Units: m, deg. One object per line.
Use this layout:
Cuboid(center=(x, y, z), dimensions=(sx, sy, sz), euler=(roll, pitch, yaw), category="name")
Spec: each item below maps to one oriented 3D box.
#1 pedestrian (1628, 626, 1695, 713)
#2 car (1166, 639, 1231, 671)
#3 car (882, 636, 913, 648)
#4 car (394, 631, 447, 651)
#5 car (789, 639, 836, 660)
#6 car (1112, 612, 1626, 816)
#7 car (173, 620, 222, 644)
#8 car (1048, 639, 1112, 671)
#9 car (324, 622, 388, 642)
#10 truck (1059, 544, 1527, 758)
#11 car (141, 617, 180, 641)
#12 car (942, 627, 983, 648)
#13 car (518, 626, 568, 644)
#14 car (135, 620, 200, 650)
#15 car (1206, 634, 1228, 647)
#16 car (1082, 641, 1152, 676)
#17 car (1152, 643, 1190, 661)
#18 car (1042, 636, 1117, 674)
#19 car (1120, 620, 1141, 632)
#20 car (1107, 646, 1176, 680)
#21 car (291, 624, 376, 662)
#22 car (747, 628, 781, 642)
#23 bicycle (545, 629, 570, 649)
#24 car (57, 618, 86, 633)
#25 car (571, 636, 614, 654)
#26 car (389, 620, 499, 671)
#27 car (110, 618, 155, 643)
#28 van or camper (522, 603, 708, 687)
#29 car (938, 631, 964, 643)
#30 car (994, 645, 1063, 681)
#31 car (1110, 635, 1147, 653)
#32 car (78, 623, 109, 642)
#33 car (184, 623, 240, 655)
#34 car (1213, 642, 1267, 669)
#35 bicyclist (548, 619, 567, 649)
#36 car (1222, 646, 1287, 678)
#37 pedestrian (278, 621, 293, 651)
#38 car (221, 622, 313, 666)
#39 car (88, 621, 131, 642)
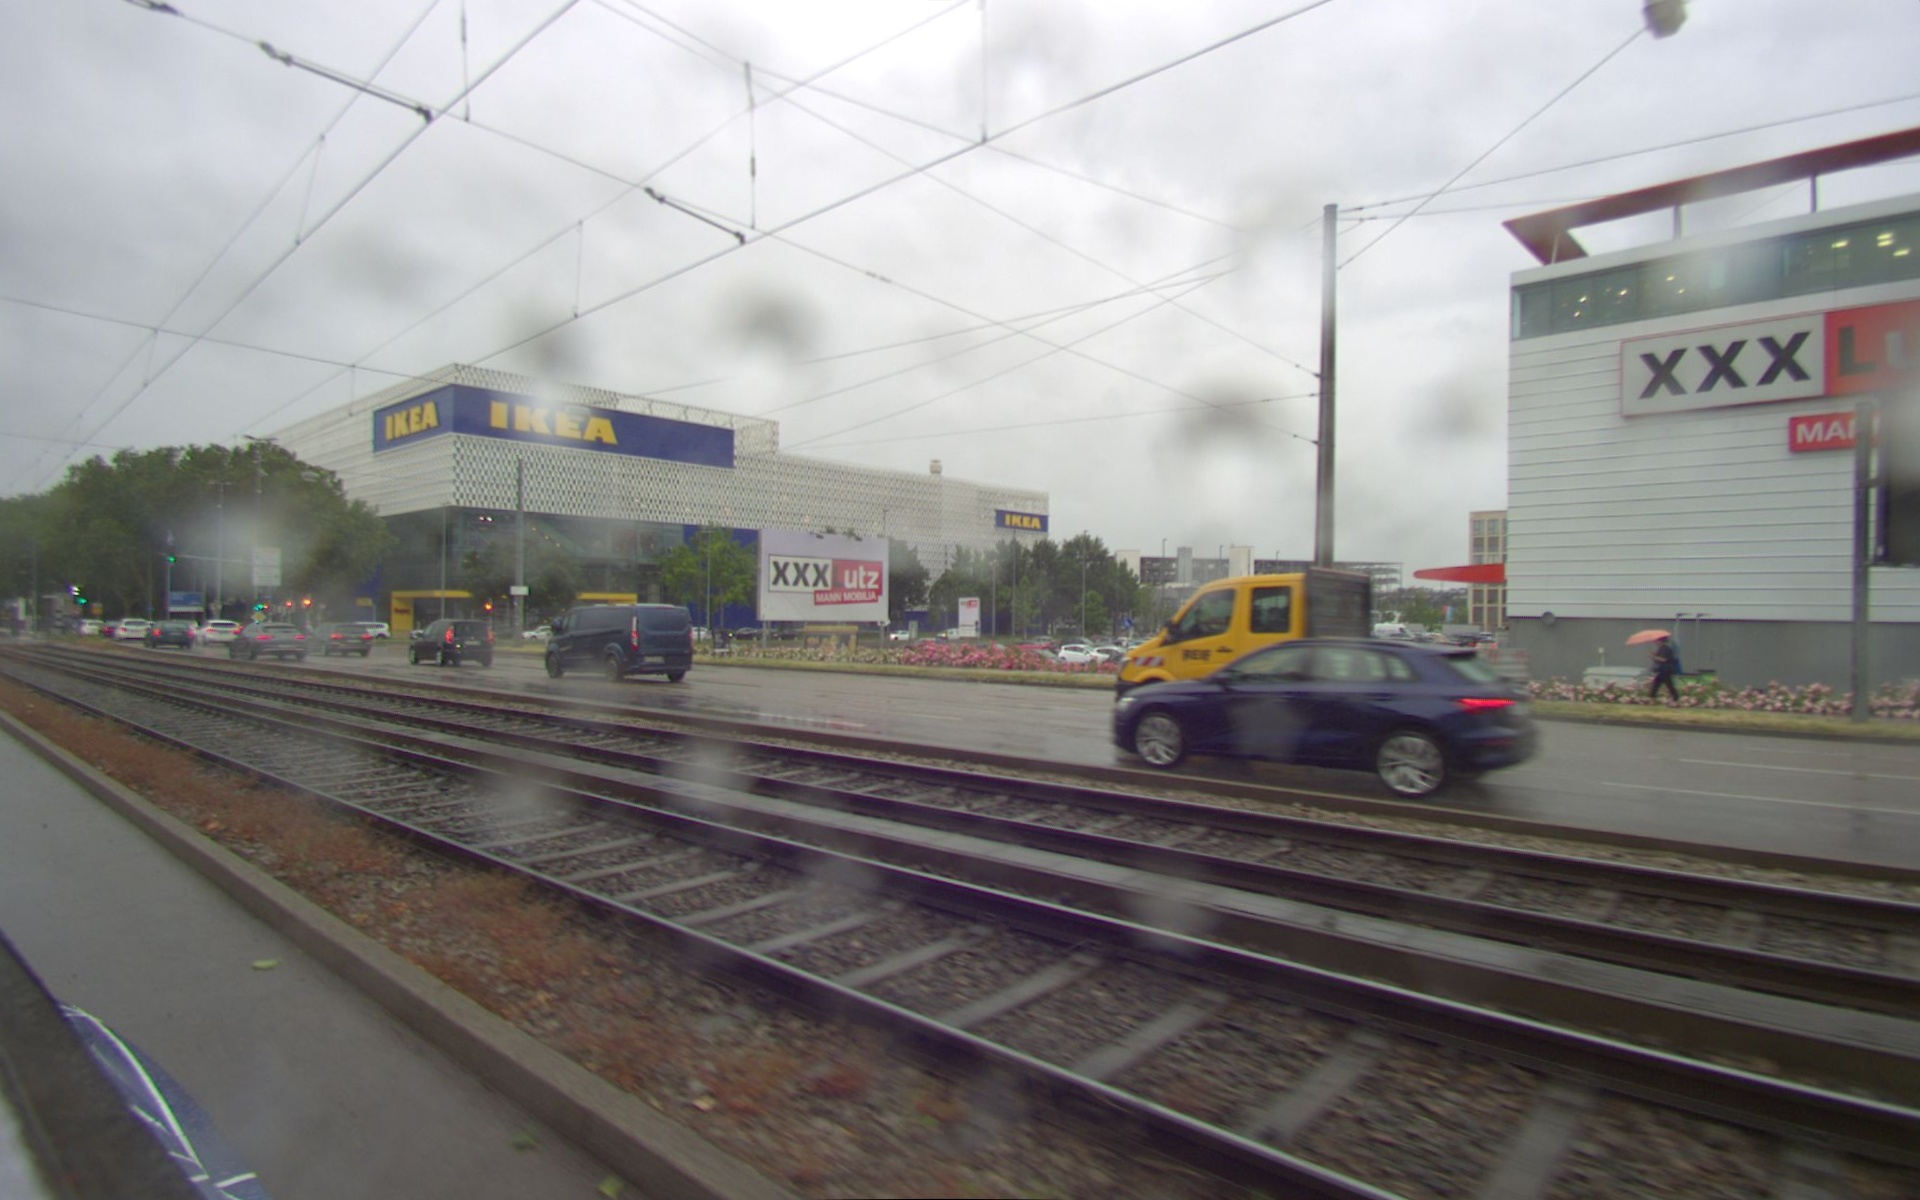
Cuboid(center=(15.123, 1.469, 21.816), dimensions=(1.050, 1.775, 0.813), euler=(0, 2, 44), category="pedestrian")
Cuboid(center=(16.913, 3.863, 71.880), dimensions=(3.997, 2.029, 1.973), euler=(0, 1, 40), category="car")
Cuboid(center=(-8.536, 5.700, 138.779), dimensions=(1.710, 1.417, 4.107), euler=(0, 1, 44), category="car")
Cuboid(center=(-50.012, 3.801, 93.869), dimensions=(1.760, 1.630, 3.961), euler=(0, 1, 44), category="car")
Cuboid(center=(-12.733, 4.224, 87.379), dimensions=(3.996, 1.616, 1.782), euler=(-1, 1, 40), category="car")
Cuboid(center=(3.947, 0.939, 10.316), dimensions=(4.535, 1.635, 1.799), euler=(-1, -1, 42), category="car")
Cuboid(center=(-56.457, 2.373, 74.900), dimensions=(4.840, 1.618, 1.888), euler=(-2, 1, 41), category="car")
Cuboid(center=(8.387, 3.813, 70.905), dimensions=(3.996, 2.029, 1.974), euler=(-1, 1, 40), category="car")
Cuboid(center=(-51.960, 2.745, 87.128), dimensions=(1.820, 1.552, 4.399), euler=(-2, -1, 44), category="car")
Cuboid(center=(4.538, 0.670, 14.627), dimensions=(6.066, 2.480, 2.203), euler=(-1, -3, 43), category="truck")
Cuboid(center=(-69.873, 2.482, 88.404), dimensions=(4.790, 1.916, 1.972), euler=(0, 1, 43), category="car")
Cuboid(center=(0.263, 3.948, 107.619), dimensions=(3.996, 2.029, 1.974), euler=(0, 1, 39), category="car")
Cuboid(center=(-40.667, 3.385, 98.722), dimensions=(2.000, 1.615, 4.052), euler=(0, 1, 43), category="car")
Cuboid(center=(-42.478, 1.864, 54.223), dimensions=(4.671, 1.468, 1.972), euler=(0, -3, 43), category="car")
Cuboid(center=(44.382, 6.915, 174.633), dimensions=(2.000, 2.029, 3.943), euler=(0, 1, 43), category="car")
Cuboid(center=(10.123, 3.733, 65.182), dimensions=(3.996, 2.029, 1.974), euler=(-1, 1, 40), category="car")
Cuboid(center=(20.336, 4.980, 97.610), dimensions=(3.165, 1.535, 1.552), euler=(0, 1, 39), category="car")
Cuboid(center=(4.743, 2.161, 40.355), dimensions=(2.691, 1.386, 1.249), euler=(-1, 1, 40), category="car")
Cuboid(center=(31.165, 4.771, 185.232), dimensions=(2.000, 2.029, 3.943), euler=(0, 1, 43), category="car")
Cuboid(center=(12.132, 4.170, 67.888), dimensions=(4.087, 2.029, 1.974), euler=(-1, 1, 40), category="car")
Cuboid(center=(-27.454, 1.873, 44.289), dimensions=(4.553, 1.528, 1.942), euler=(0, -3, 42), category="car")
Cuboid(center=(-23.506, 4.180, 121.636), dimensions=(1.603, 1.417, 3.770), euler=(0, 1, 44), category="car")
Cuboid(center=(-21.959, 2.121, 55.223), dimensions=(1.555, 1.023, 0.661), euler=(-1, 1, 42), category="bicycle")
Cuboid(center=(-85.015, 2.455, 96.804), dimensions=(4.461, 1.259, 1.693), euler=(-2, -1, 43), category="car")
Cuboid(center=(-38.610, 4.716, 106.318), dimensions=(1.683, 1.686, 3.956), euler=(0, 1, 44), category="car")
Cuboid(center=(-18.080, 1.567, 35.343), dimensions=(4.909, 1.630, 1.837), euler=(0, -3, 44), category="car")
Cuboid(center=(-56.036, 2.092, 68.497), dimensions=(4.328, 1.585, 1.852), euler=(-2, -1, 44), category="car")
Cuboid(center=(-9.362, 1.136, 27.211), dimensions=(5.685, 2.029, 2.280), euler=(-1, -2, 43), category="van or camper")
Cuboid(center=(-1.271, 5.295, 145.522), dimensions=(1.603, 1.417, 3.770), euler=(0, 1, 44), category="car")
Cuboid(center=(4.353, 3.955, 64.446), dimensions=(3.996, 2.029, 1.974), euler=(-1, 1, 40), category="car")
Cuboid(center=(16.252, 4.225, 97.686), dimensions=(3.165, 1.535, 1.552), euler=(0, 1, 39), category="car")
Cuboid(center=(-75.287, 2.821, 87.901), dimensions=(4.048, 1.547, 1.693), euler=(-2, -1, 44), category="car")
Cuboid(center=(-45.945, 2.345, 62.128), dimensions=(4.693, 1.848, 1.971), euler=(-1, -1, 43), category="car")
Cuboid(center=(23.818, 4.714, 86.254), dimensions=(3.996, 2.029, 1.974), euler=(0, 1, 39), category="car")
Cuboid(center=(-21.971, 1.851, 55.225), dimensions=(0.791, 1.601, 0.664), euler=(-1, 1, 42), category="bicyclist")
Cuboid(center=(21.184, 4.416, 72.862), dimensions=(3.997, 2.029, 1.973), euler=(0, 1, 40), category="car")
Cuboid(center=(-53.997, 2.888, 81.023), dimensions=(0.906, 2.261, 0.992), euler=(-2, 3, -35), category="pedestrian")
Cuboid(center=(-26.492, 1.640, 38.611), dimensions=(4.689, 1.505, 1.838), euler=(0, -2, 42), category="car")
Cuboid(center=(-65.594, 2.438, 77.979), dimensions=(5.084, 1.434, 1.901), euler=(-2, -6, 44), category="car")
